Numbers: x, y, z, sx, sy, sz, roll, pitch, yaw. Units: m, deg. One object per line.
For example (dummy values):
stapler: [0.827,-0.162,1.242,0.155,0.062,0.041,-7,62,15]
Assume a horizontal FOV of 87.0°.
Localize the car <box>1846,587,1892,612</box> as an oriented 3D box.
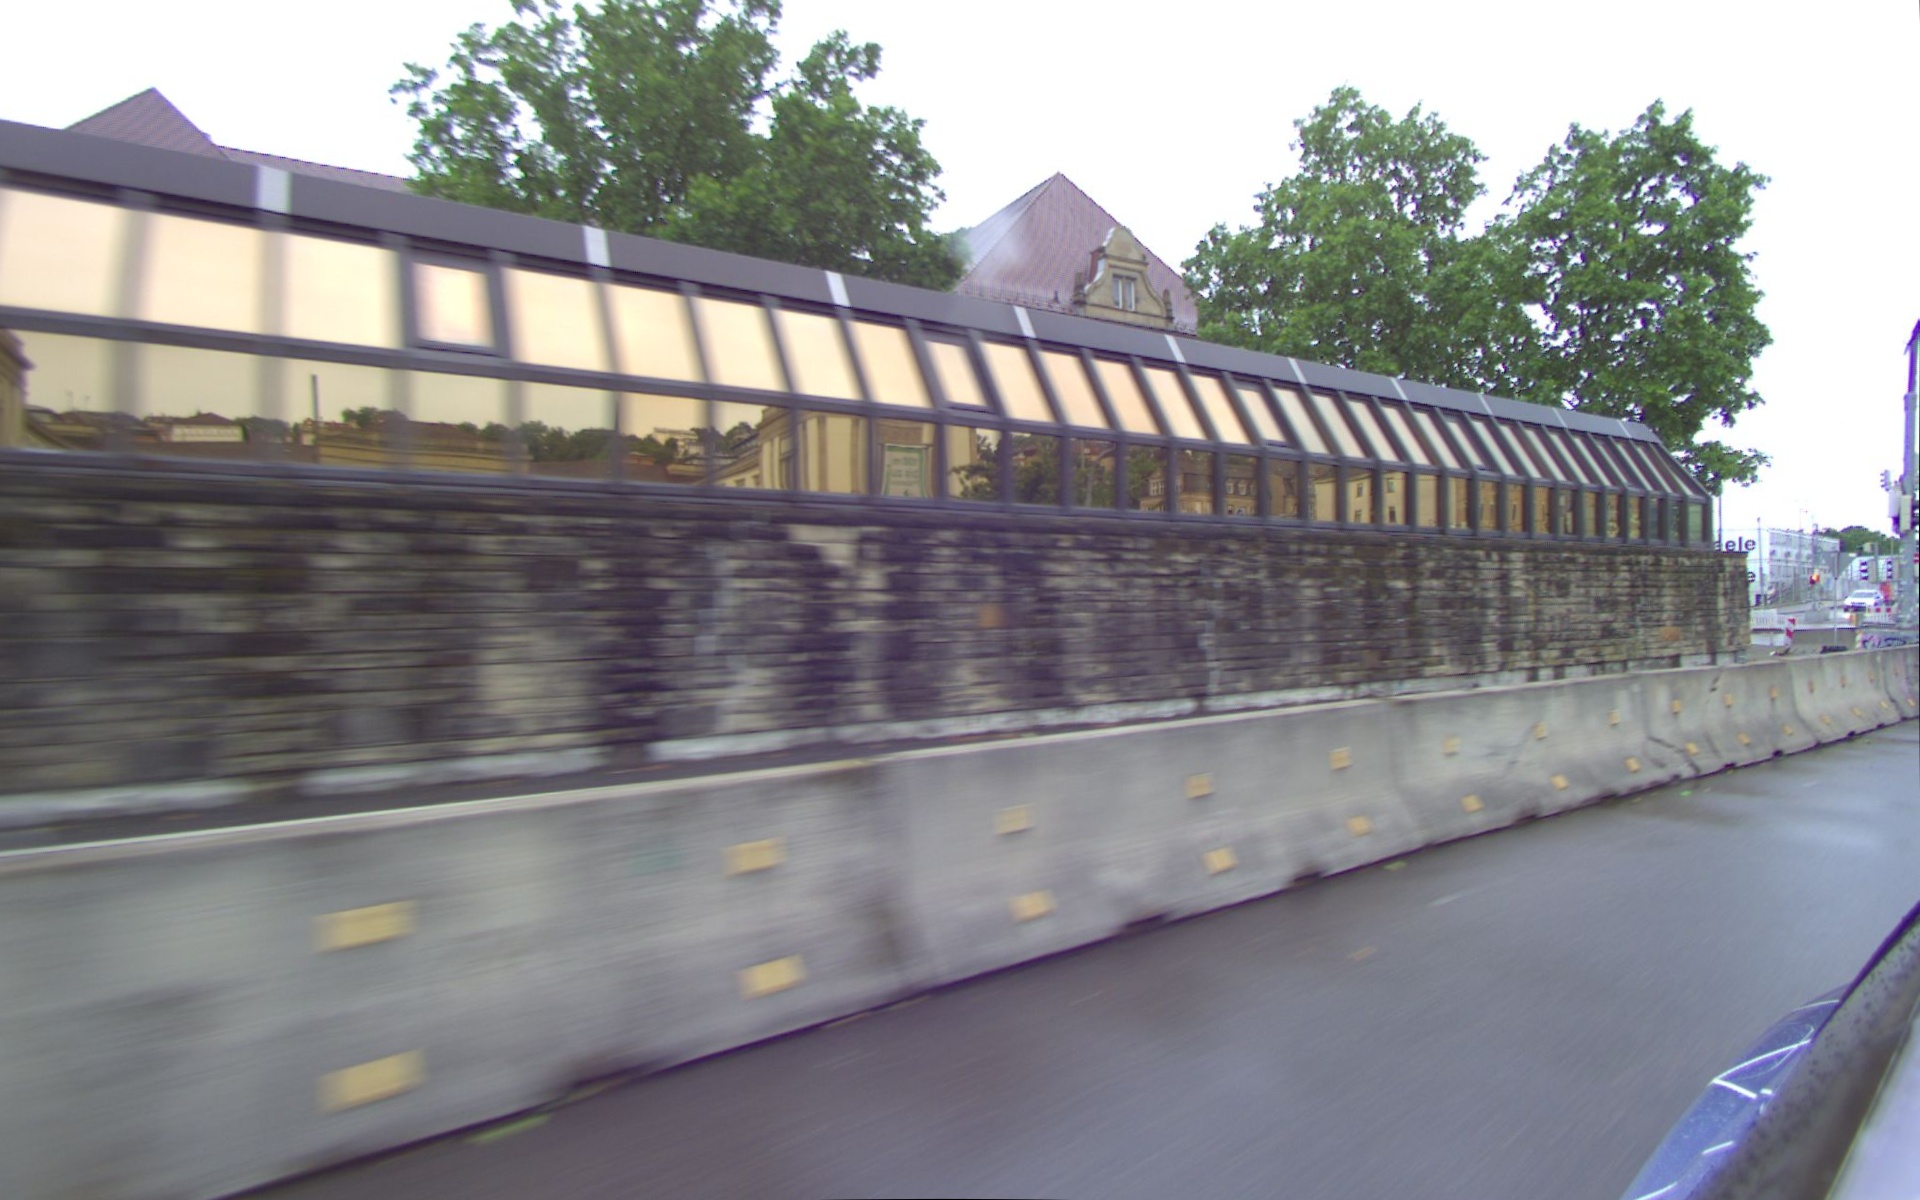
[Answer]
car: [67.567,-0.046,75.185,4.282,1.795,1.996,-1,-2,-42]
